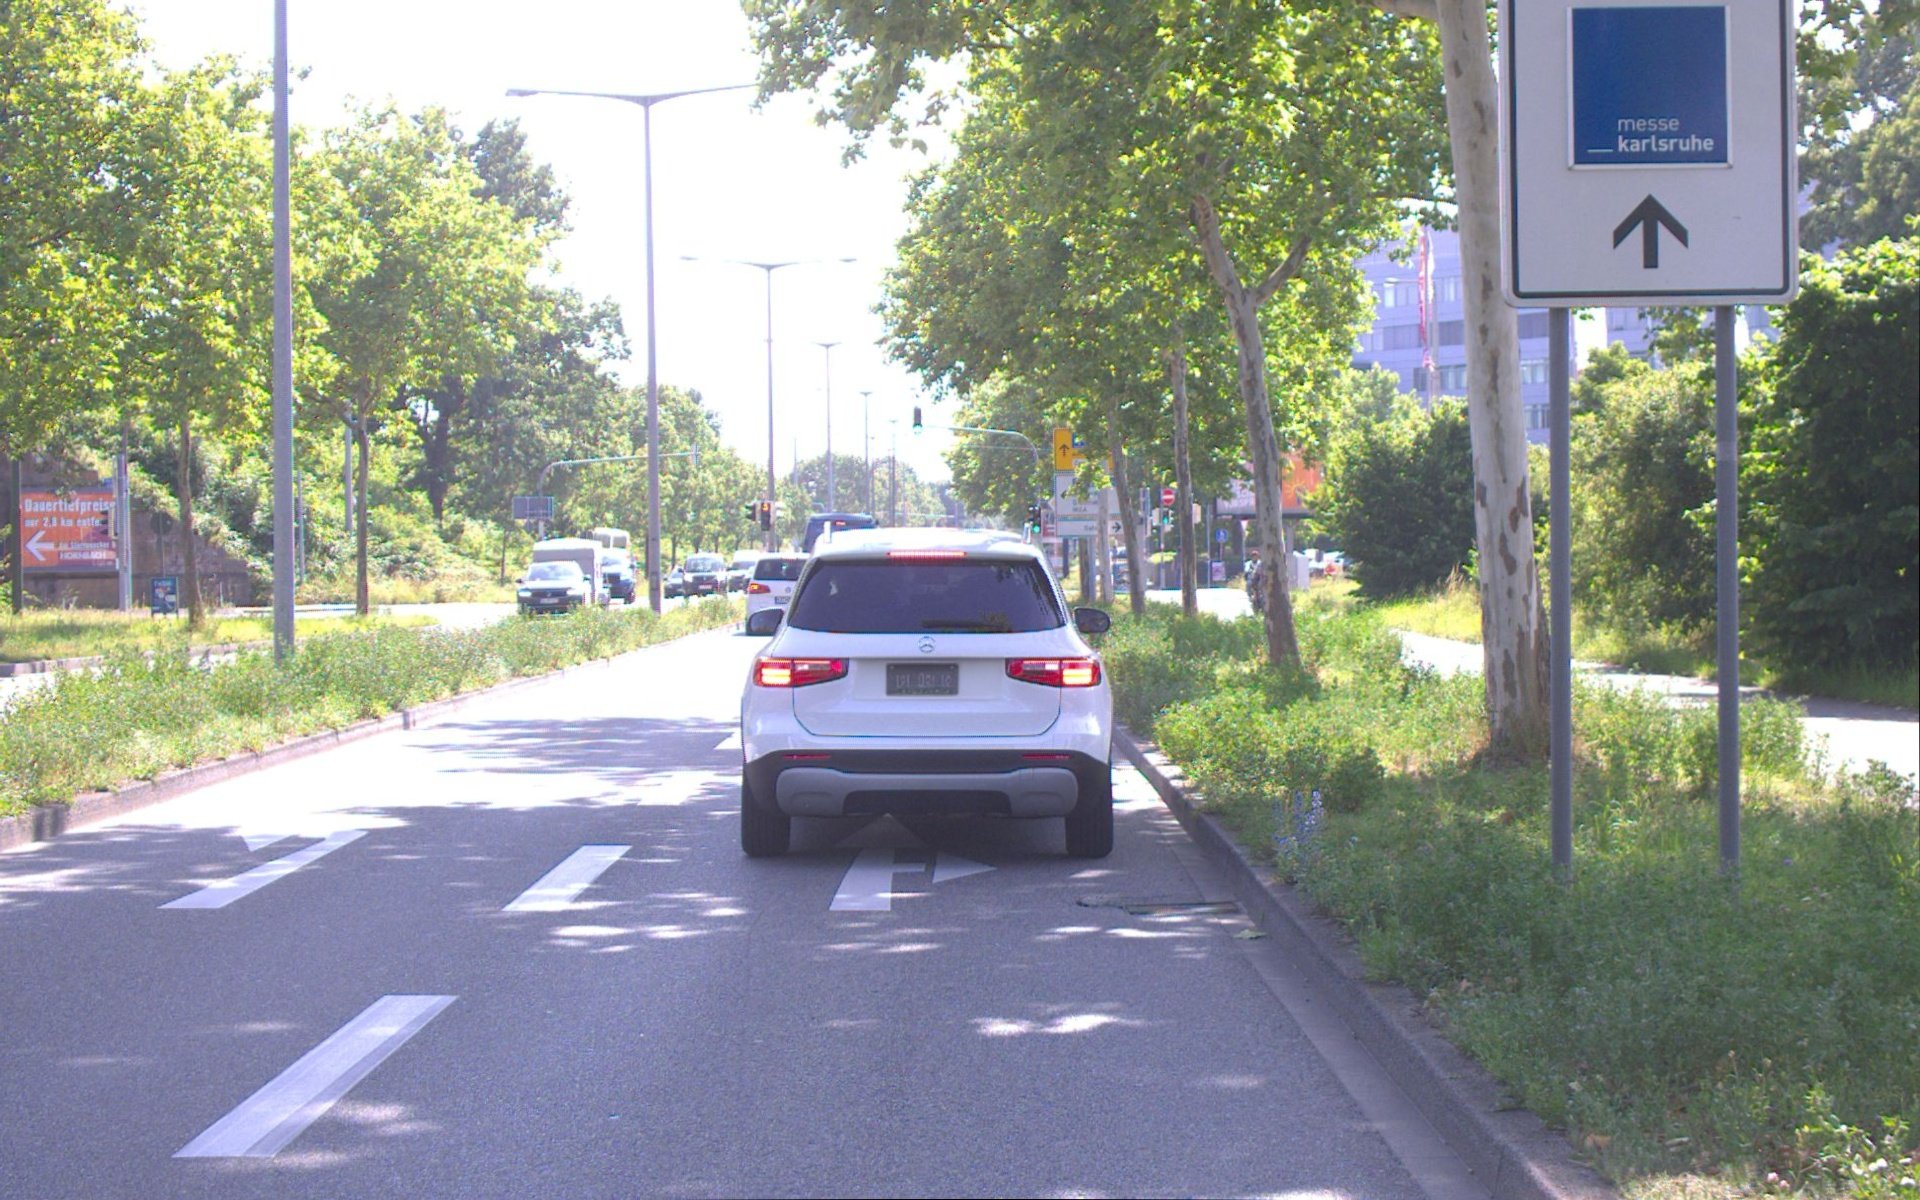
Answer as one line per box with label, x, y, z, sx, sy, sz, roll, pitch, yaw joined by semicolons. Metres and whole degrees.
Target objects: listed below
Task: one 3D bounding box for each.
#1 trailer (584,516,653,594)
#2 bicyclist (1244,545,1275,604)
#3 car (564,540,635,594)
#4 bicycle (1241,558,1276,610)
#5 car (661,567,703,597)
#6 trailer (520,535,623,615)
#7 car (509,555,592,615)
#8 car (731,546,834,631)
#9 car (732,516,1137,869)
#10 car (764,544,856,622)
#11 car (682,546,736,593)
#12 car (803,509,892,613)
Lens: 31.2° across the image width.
trailer;-12.286;-1.610;124.045;1.880;2.734;4.828;1;0;1
bicyclist;7.603;-0.644;87.397;0.704;1.472;1.009;1;0;1
car;-12.461;-1.127;119.178;1.764;1.783;5.376;1;0;1
bicycle;7.582;-0.417;87.403;0.723;1.294;2.095;1;0;1
car;-13.154;-0.860;162.897;1.701;1.360;3.646;0;1;0
trailer;-11.284;-0.728;100.212;2.309;2.257;5.538;0;0;1
car;-11.314;-0.415;95.259;1.715;1.616;4.361;0;0;1
car;-3.541;-0.249;69.207;1.771;1.641;4.352;0;0;1
car;-0.231;0.416;18.109;1.853;1.602;4.001;2;0;-3
car;-3.273;-0.379;75.491;1.771;1.641;4.084;0;0;1
car;-9.905;-1.210;136.071;1.731;1.803;4.232;1;0;1
car;-2.973;-1.035;91.600;2.081;2.647;4.874;1;0;1
